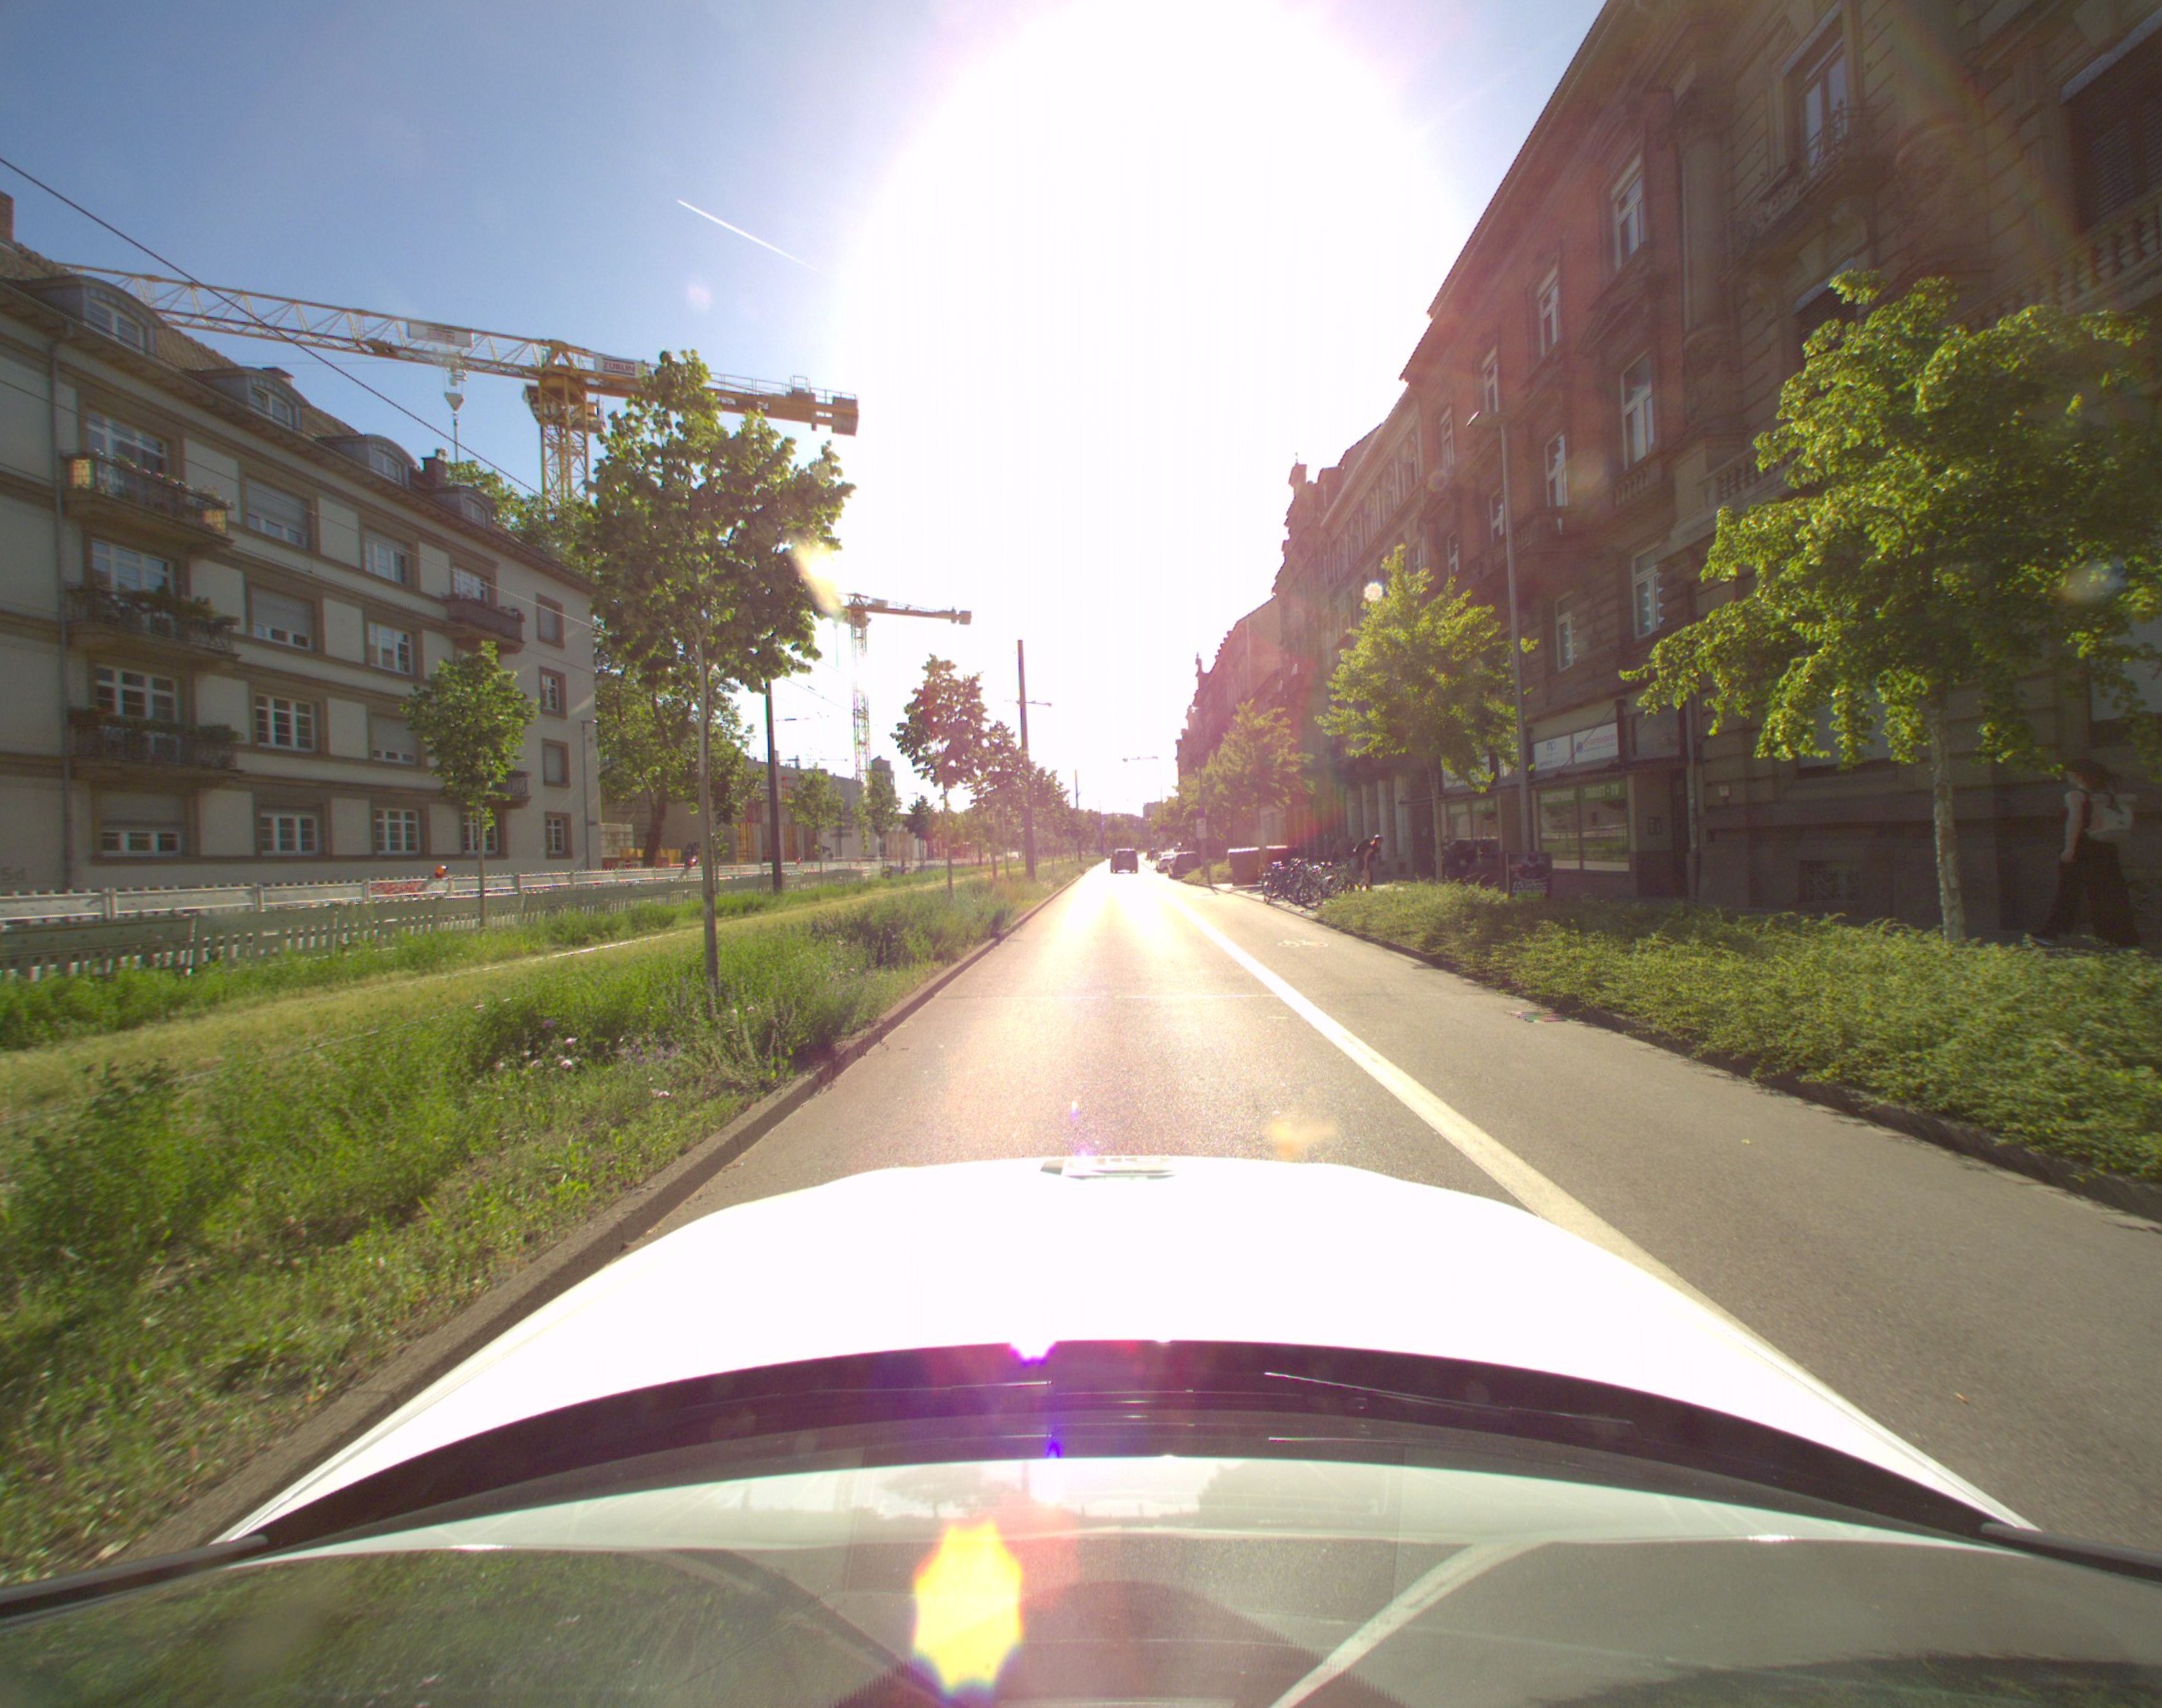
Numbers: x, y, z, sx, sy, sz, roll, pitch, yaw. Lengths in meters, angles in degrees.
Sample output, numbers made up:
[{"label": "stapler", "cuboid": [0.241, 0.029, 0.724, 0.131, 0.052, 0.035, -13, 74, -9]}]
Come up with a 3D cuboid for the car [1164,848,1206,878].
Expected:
[{"label": "car", "cuboid": [5.994, 0.528, 47.534, 1.760, 1.477, 4.447, -5, -1, 0]}]

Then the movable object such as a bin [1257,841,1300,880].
[{"label": "movable object such as a bin", "cuboid": [8.414, 0.290, 34.754, 1.368, 1.495, 1.750, -5, -1, 3]}]

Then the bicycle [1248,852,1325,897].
[{"label": "bicycle", "cuboid": [6.045, 0.603, 23.979, 2.040, 1.107, 0.610, -5, 0, -4]}]

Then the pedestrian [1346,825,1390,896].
[{"label": "pedestrian", "cuboid": [7.515, 0.169, 21.311, 0.892, 1.735, 0.854, -6, 0, 20]}]

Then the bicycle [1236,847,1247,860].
[{"label": "bicycle", "cuboid": [13.434, -0.041, 68.228, 0.479, 1.090, 2.058, -4, 0, 3]}]

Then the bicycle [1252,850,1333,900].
[{"label": "bicycle", "cuboid": [5.951, 0.580, 22.896, 2.148, 1.154, 0.428, -6, 0, -12]}]

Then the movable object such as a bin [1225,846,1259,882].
[{"label": "movable object such as a bin", "cuboid": [6.821, 0.429, 34.622, 1.264, 1.463, 1.646, -2, -1, 7]}]

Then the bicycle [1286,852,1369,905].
[{"label": "bicycle", "cuboid": [6.019, 0.595, 19.920, 1.860, 1.179, 0.373, -3, -1, -1]}]

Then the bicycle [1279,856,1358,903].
[{"label": "bicycle", "cuboid": [6.128, 0.644, 21.036, 1.811, 1.055, 0.571, -4, -1, -4]}]

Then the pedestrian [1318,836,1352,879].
[{"label": "pedestrian", "cuboid": [9.869, 0.118, 31.678, 0.947, 1.566, 1.080, -3, 1, 2]}]

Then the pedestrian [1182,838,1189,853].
[{"label": "pedestrian", "cuboid": [14.592, -1.208, 113.517, 0.814, 2.014, 1.046, -2, -3, 2]}]

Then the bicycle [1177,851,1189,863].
[{"label": "bicycle", "cuboid": [9.590, 0.301, 76.770, 0.649, 1.120, 2.169, -4, 0, -3]}]

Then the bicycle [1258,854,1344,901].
[{"label": "bicycle", "cuboid": [6.097, 0.651, 22.551, 2.287, 1.102, 0.484, -5, 0, -13]}]

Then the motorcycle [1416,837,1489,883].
[{"label": "motorcycle", "cuboid": [10.981, 0.179, 24.194, 0.862, 1.266, 2.983, -2, -1, 2]}]

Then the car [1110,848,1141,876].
[{"label": "car", "cuboid": [3.387, 0.590, 62.650, 1.988, 2.014, 3.997, -2, -1, -2]}]

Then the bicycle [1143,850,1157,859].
[{"label": "bicycle", "cuboid": [9.985, 0.058, 117.563, 1.875, 1.233, 0.499, -5, -1, -4]}]

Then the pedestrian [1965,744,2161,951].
[{"label": "pedestrian", "cuboid": [10.098, -0.065, 8.289, 0.885, 1.920, 1.100, -4, 0, 7]}]

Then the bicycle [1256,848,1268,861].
[{"label": "bicycle", "cuboid": [13.169, 0.047, 59.299, 0.445, 0.945, 2.014, -2, 0, 2]}]

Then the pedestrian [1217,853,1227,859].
[{"label": "pedestrian", "cuboid": [13.953, 0.168, 80.641, 0.770, 0.553, 2.008, -3, 1, 2]}]

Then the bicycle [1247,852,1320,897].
[{"label": "bicycle", "cuboid": [6.055, 0.608, 24.387, 1.970, 1.124, 0.481, -6, 1, -4]}]

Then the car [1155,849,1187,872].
[{"label": "car", "cuboid": [6.629, 0.447, 60.236, 1.944, 1.495, 5.108, -4, 0, 2]}]

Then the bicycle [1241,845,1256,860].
[{"label": "bicycle", "cuboid": [13.112, -0.094, 63.824, 0.718, 1.090, 2.200, -4, 0, 2]}]

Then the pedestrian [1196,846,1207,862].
[{"label": "pedestrian", "cuboid": [12.718, -0.008, 85.881, 0.992, 1.731, 0.866, -2, -1, 2]}]

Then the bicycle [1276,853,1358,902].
[{"label": "bicycle", "cuboid": [6.184, 0.612, 21.379, 1.971, 1.108, 0.435, -4, -1, -1]}]

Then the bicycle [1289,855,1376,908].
[{"label": "bicycle", "cuboid": [6.029, 0.650, 19.565, 1.887, 1.108, 0.517, -4, -1, -3]}]

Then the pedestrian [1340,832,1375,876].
[{"label": "pedestrian", "cuboid": [10.826, -0.001, 31.880, 0.967, 1.639, 0.993, -4, 1, 2]}]
